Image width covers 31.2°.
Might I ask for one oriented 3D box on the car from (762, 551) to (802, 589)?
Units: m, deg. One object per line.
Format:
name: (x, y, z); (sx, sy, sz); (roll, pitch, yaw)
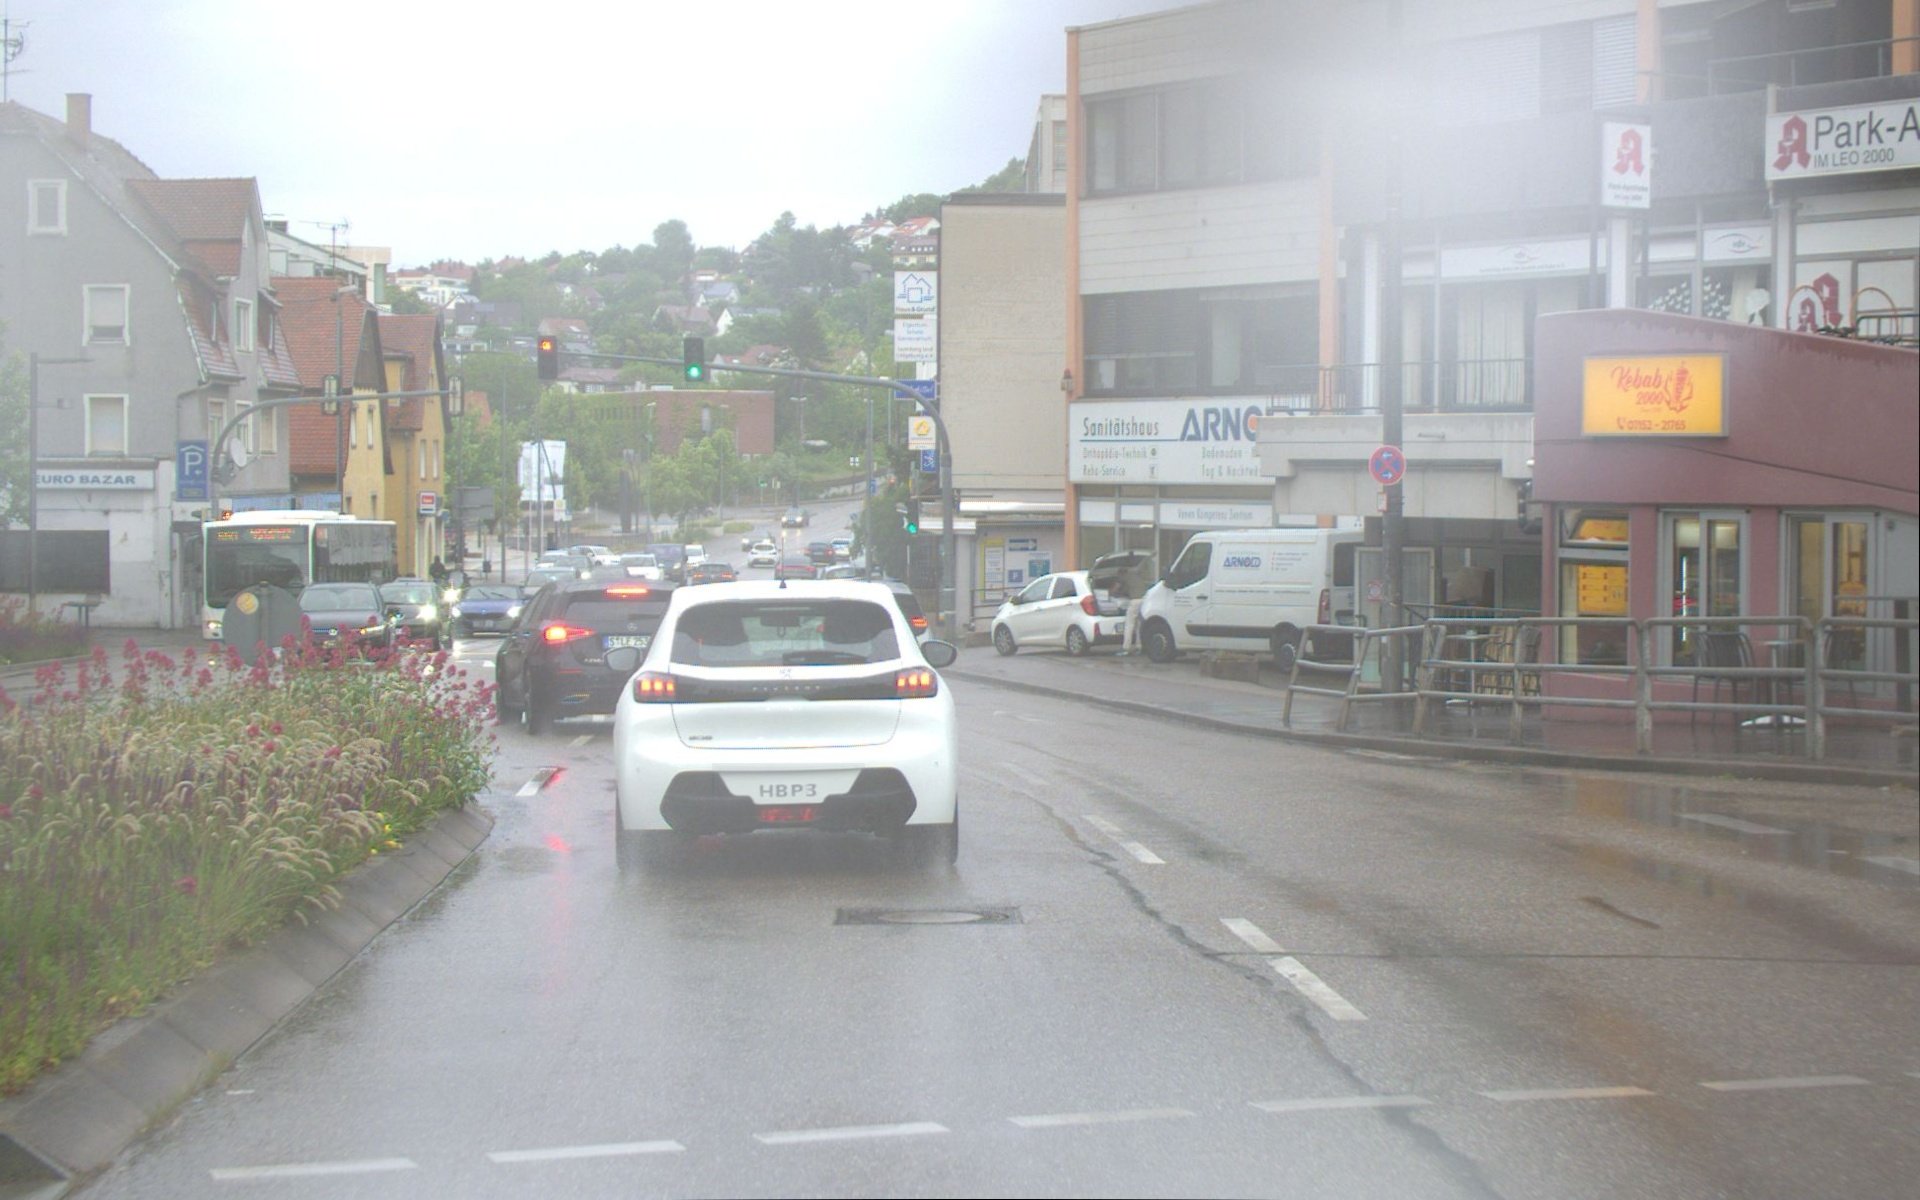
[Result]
car: (-8.033, -1.369, 154.872); (1.746, 1.549, 4.001); (-1, 2, -3)

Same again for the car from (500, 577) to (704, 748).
car: (-3.390, 0.586, 32.831); (1.815, 1.524, 3.813); (1, -1, -5)

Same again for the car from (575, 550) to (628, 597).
car: (-13.300, -1.001, 127.825); (1.746, 1.549, 4.001); (-1, 2, -3)

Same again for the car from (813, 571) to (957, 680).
car: (-1.116, 0.343, 49.567); (1.911, 1.395, 3.459); (0, 2, -4)

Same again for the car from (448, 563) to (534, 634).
car: (-11.545, -0.052, 84.843); (1.815, 1.549, 4.001); (-1, 2, -4)

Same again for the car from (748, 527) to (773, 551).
car: (-13.813, -4.220, 238.034); (1.746, 1.549, 4.001); (-1, 2, -3)

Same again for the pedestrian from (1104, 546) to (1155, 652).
pedestrian: (2.945, -0.025, 59.881); (0.640, 1.816, 0.582); (-2, 2, -34)

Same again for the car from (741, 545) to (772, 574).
car: (-11.925, -2.403, 201.586); (1.746, 1.549, 4.001); (-1, 2, -3)

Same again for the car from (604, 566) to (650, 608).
car: (-13.795, -0.549, 142.542); (1.746, 1.549, 4.001); (-1, 2, -3)

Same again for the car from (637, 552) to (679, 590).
car: (-13.787, -1.336, 157.154); (1.746, 1.549, 4.001); (-1, 2, -3)

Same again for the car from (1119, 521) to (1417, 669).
car: (4.982, -0.132, 56.290); (1.994, 2.219, 4.975); (-2, 3, -38)

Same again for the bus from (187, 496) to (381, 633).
bus: (-15.332, -0.906, 78.657); (2.938, 2.773, 9.506); (-1, 2, -3)

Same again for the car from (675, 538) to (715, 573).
car: (-13.845, -2.325, 179.803); (1.786, 1.678, 4.001); (1, 3, -1)

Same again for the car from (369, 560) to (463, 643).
car: (-11.453, -0.001, 72.592); (1.815, 1.549, 4.001); (-1, 2, -7)

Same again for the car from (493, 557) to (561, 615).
car: (-13.073, -0.437, 103.881); (1.746, 1.549, 4.001); (-1, 2, -3)

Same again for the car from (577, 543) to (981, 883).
car: (-0.961, 0.505, 18.115); (1.871, 1.457, 3.874); (1, 3, -3)

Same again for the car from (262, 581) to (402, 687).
car: (-10.613, 0.545, 58.332); (1.892, 1.549, 4.001); (-1, 2, -4)

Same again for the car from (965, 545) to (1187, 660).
car: (2.035, 0.012, 61.345); (1.885, 1.872, 4.135); (-2, 3, -34)
